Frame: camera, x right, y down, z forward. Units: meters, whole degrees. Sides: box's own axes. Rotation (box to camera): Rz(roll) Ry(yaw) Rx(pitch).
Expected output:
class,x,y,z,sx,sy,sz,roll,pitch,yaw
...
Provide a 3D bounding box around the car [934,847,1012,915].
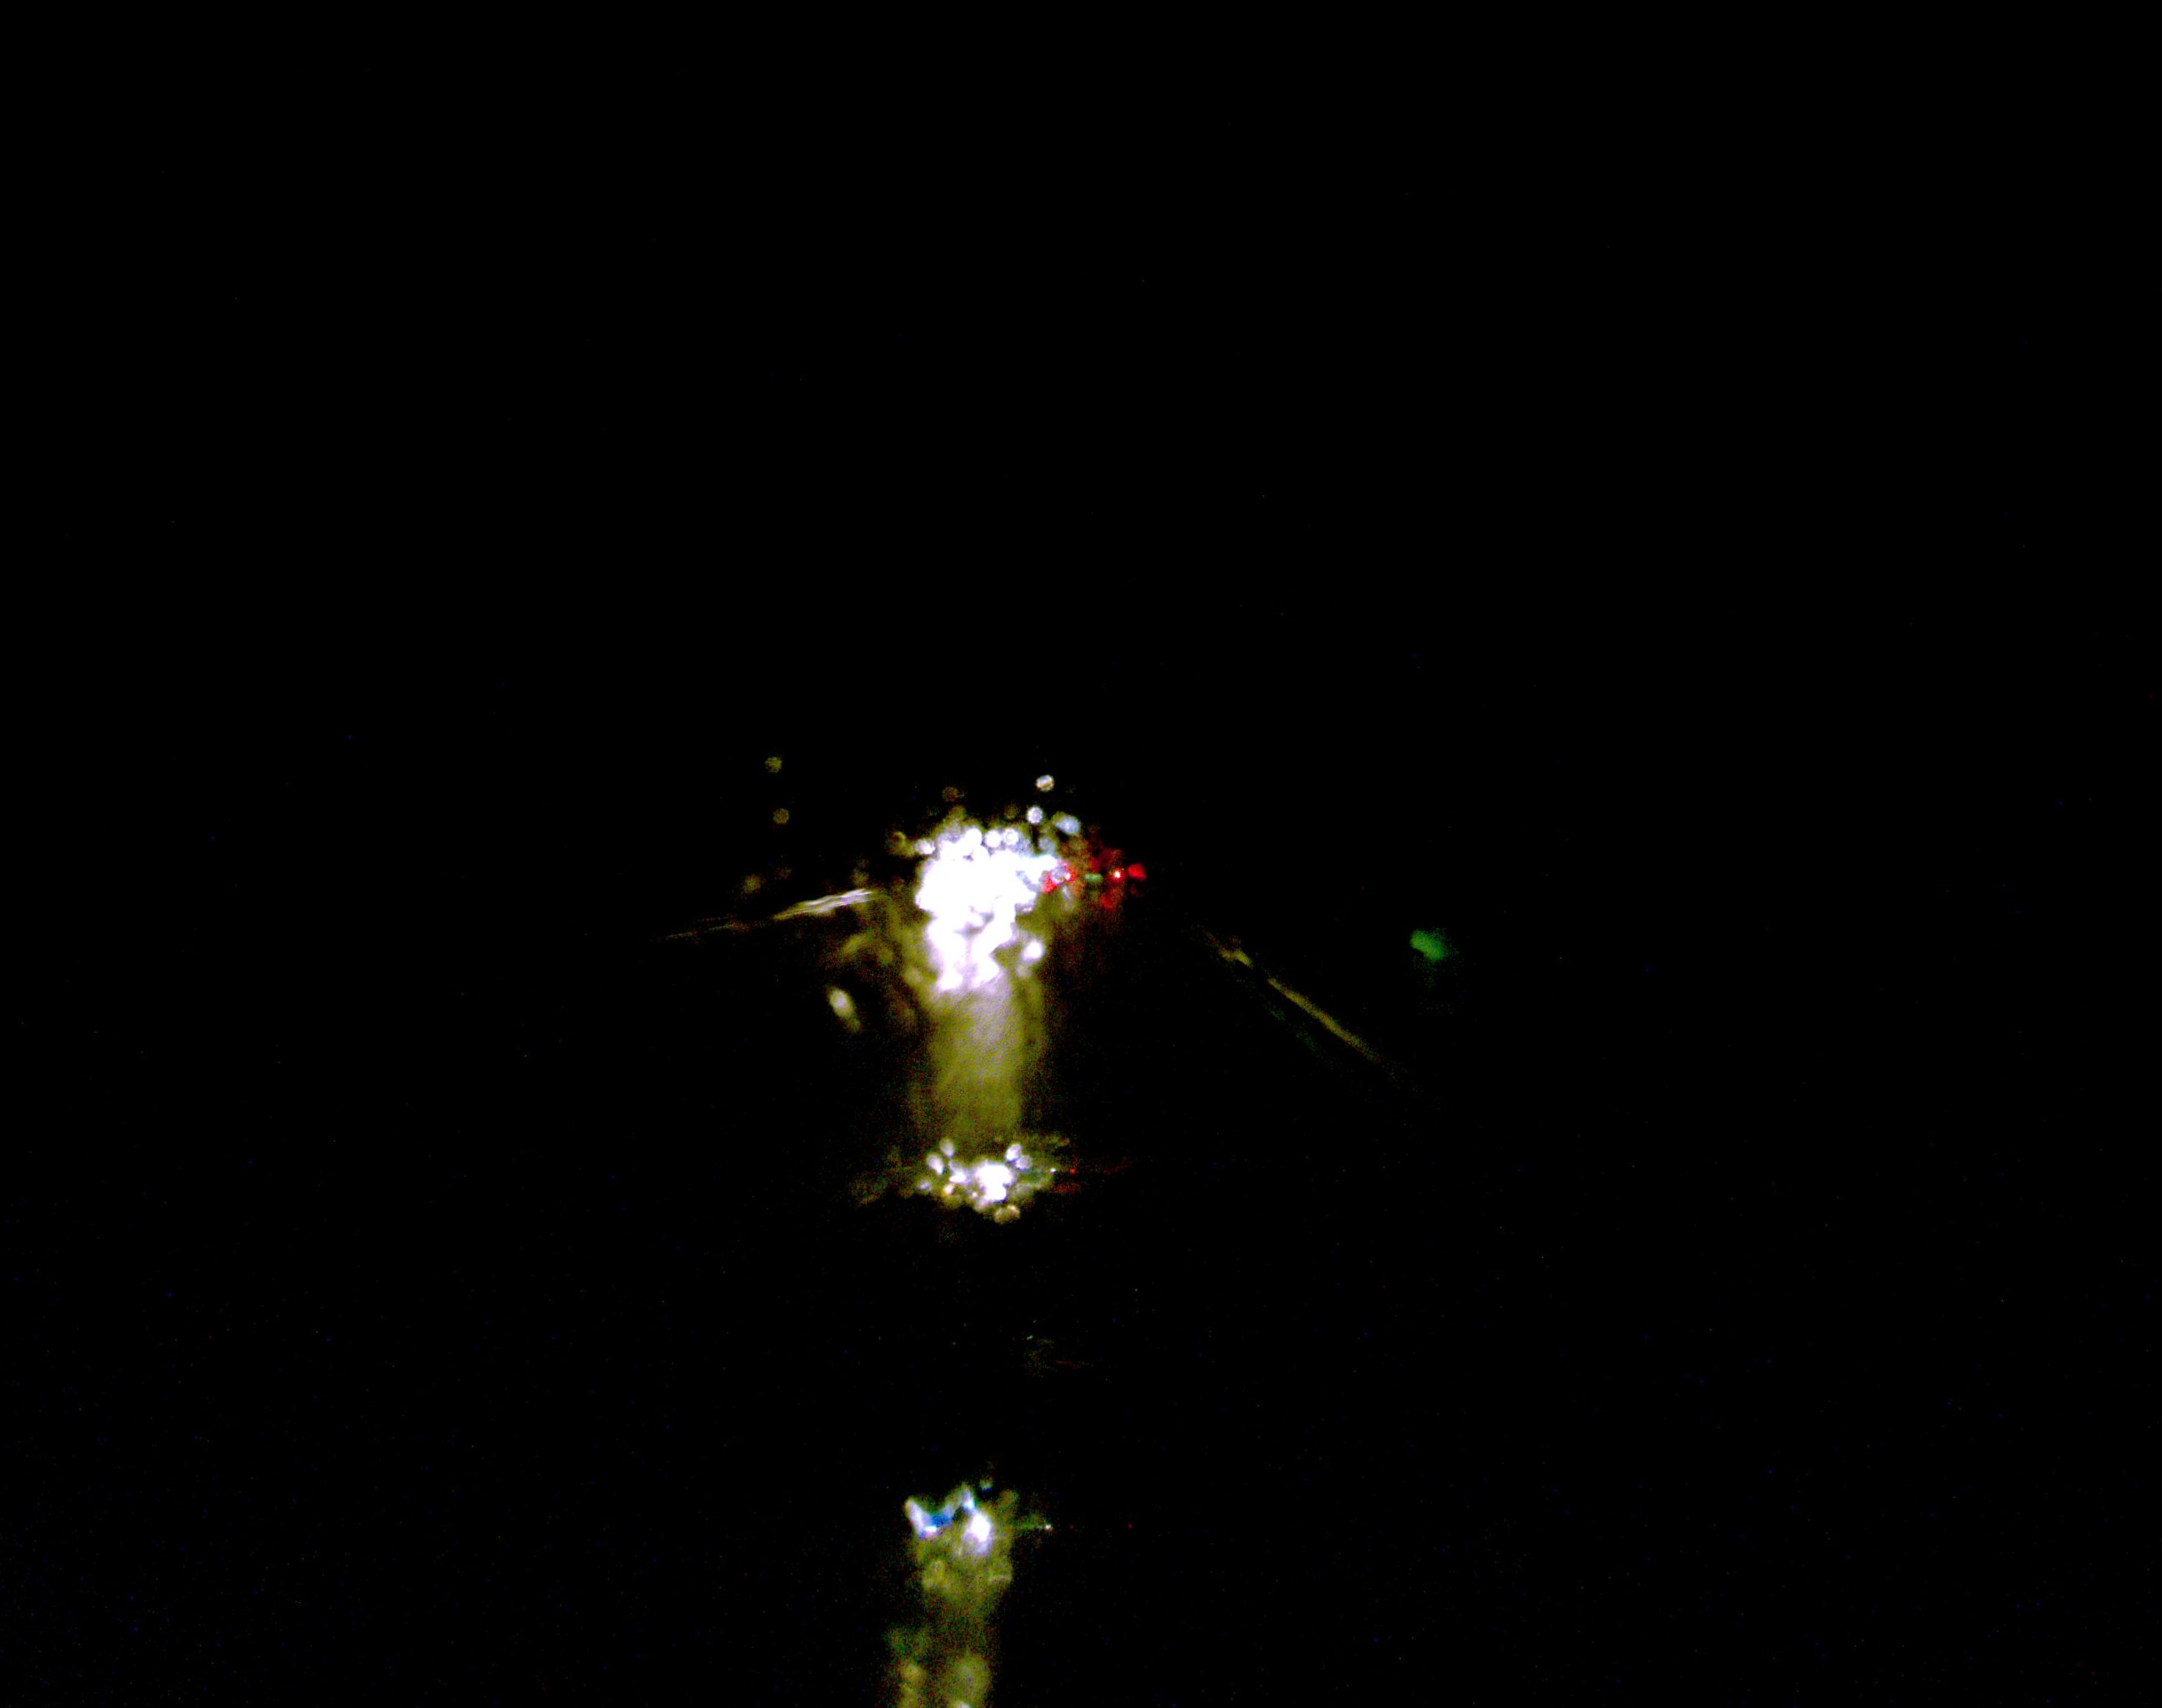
class,x,y,z,sx,sy,sz,roll,pitch,yaw
car,-3.542,0.853,27.490,1.988,2.013,4.454,-3,0,-1

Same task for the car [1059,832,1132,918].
class,x,y,z,sx,sy,sz,roll,pitch,yaw
car,0.449,0.609,26.973,2.174,2.557,4.508,1,1,0
